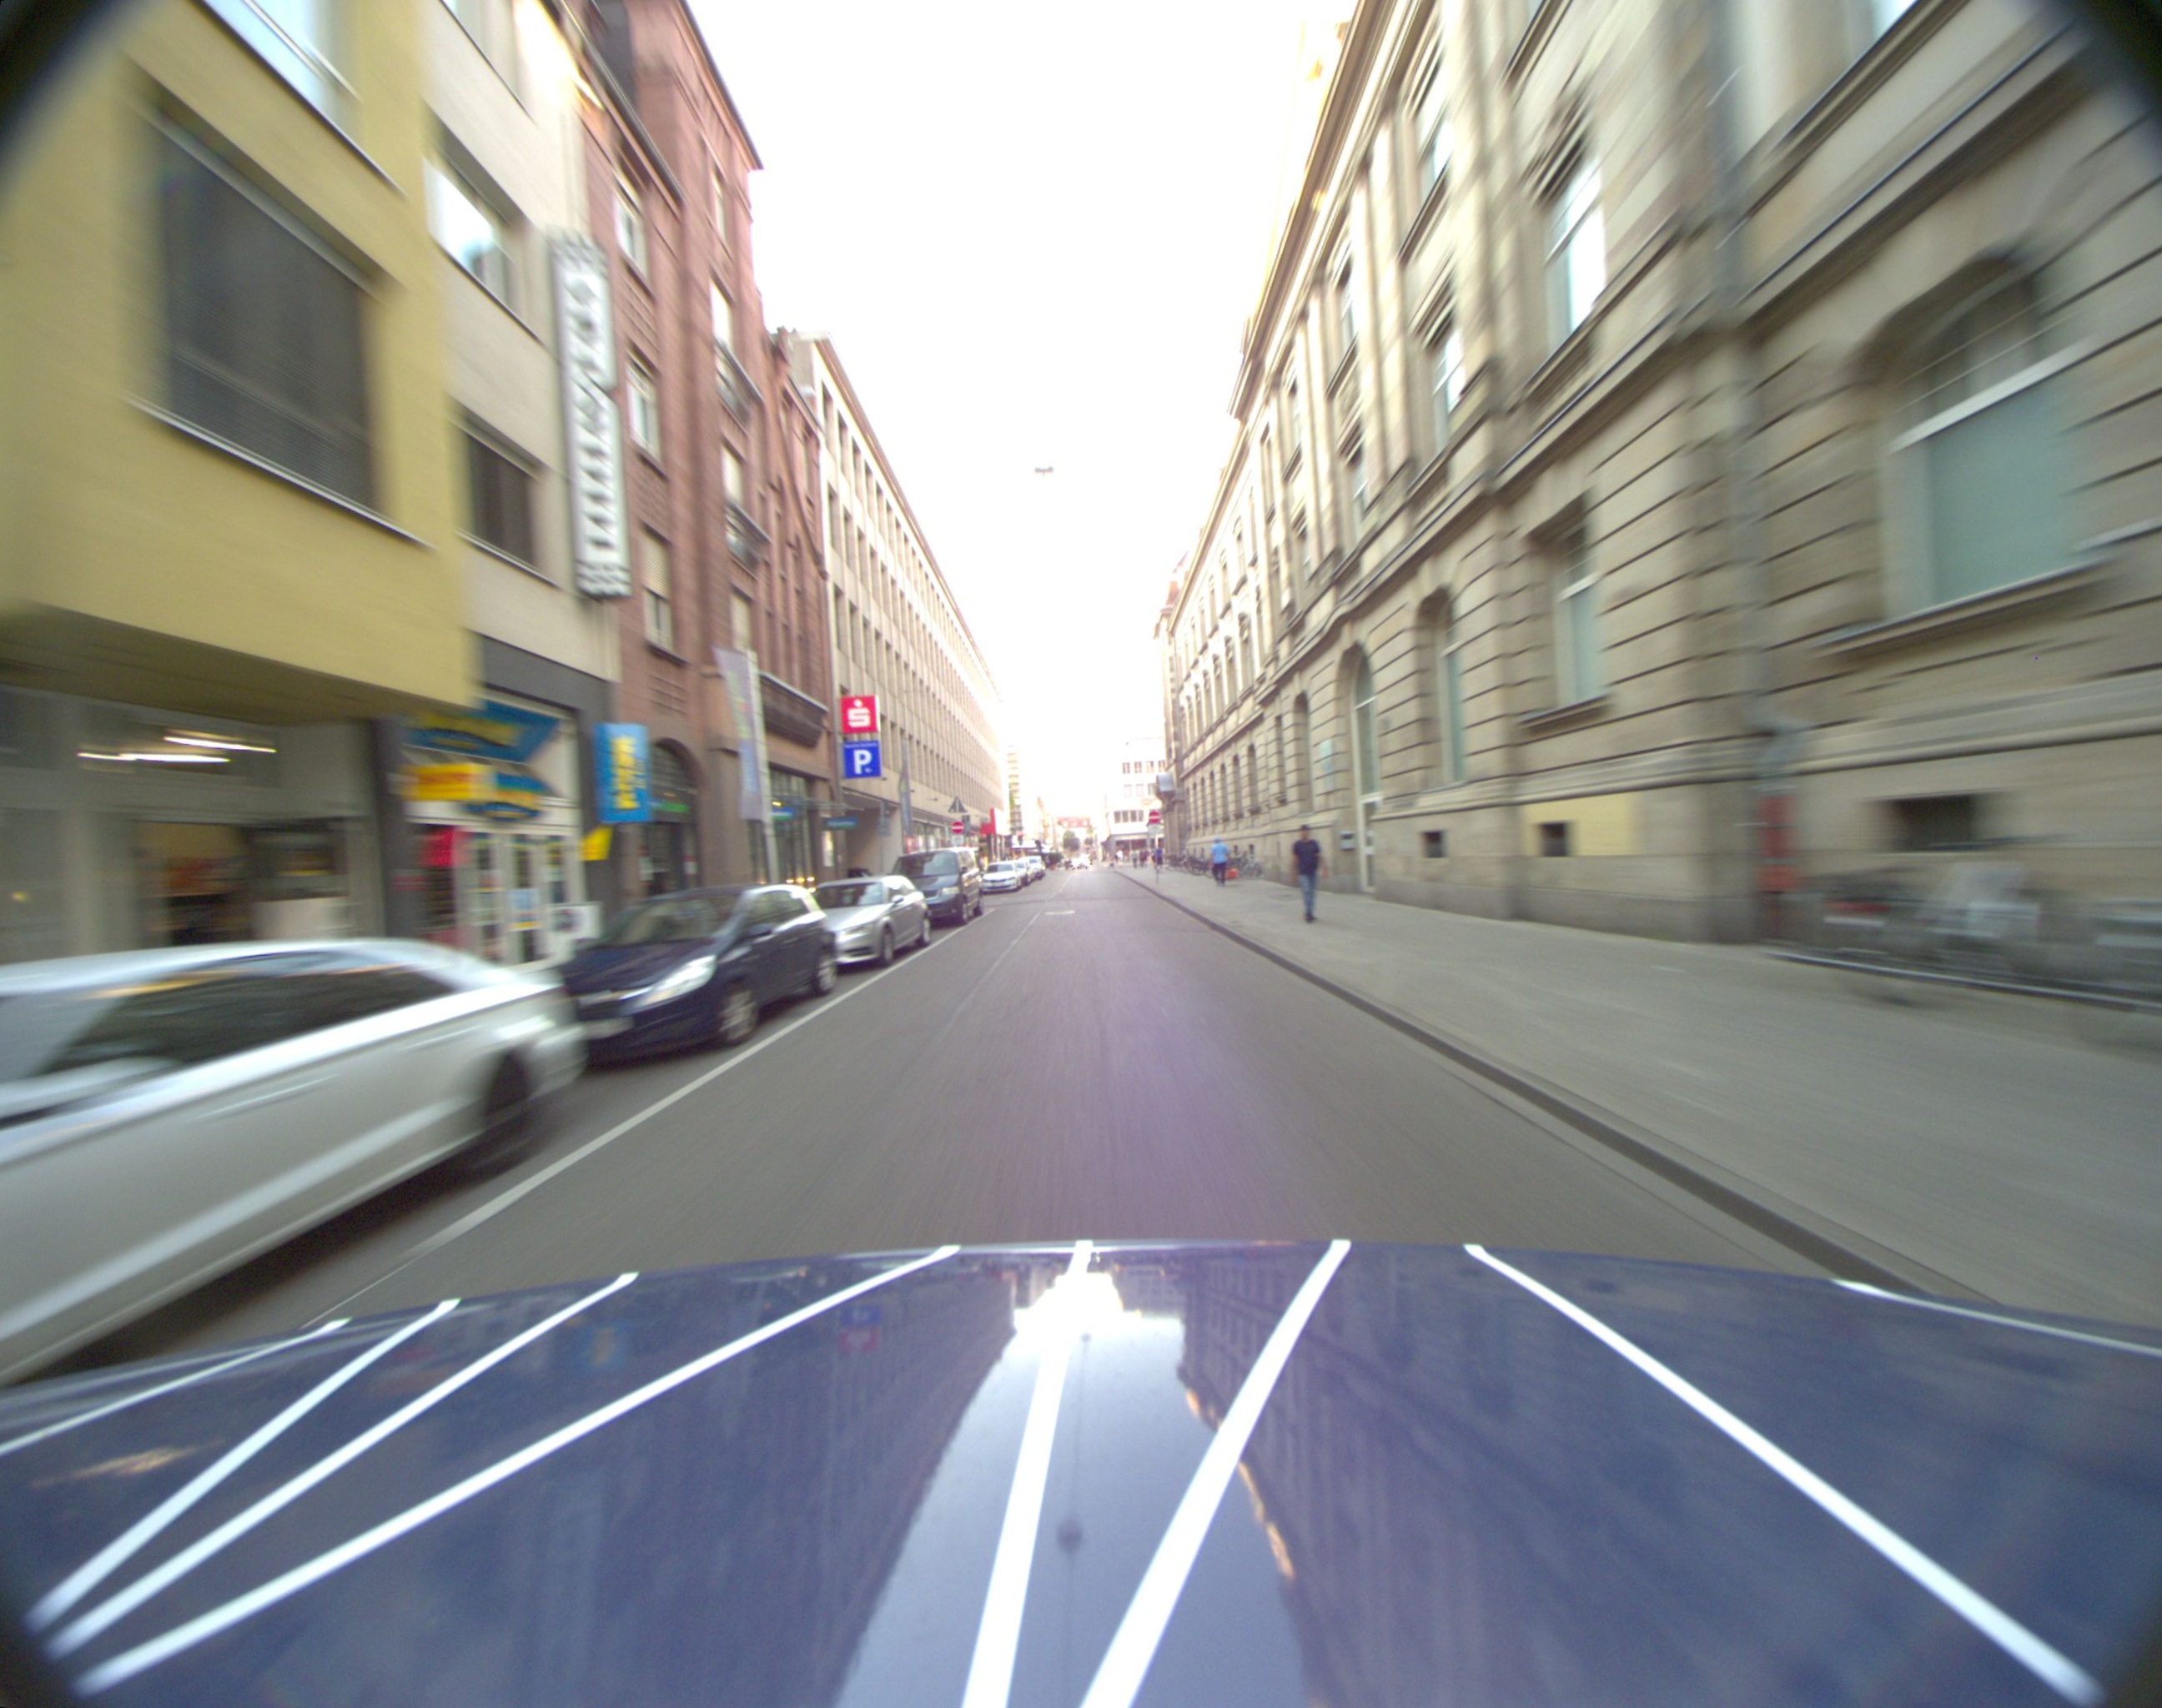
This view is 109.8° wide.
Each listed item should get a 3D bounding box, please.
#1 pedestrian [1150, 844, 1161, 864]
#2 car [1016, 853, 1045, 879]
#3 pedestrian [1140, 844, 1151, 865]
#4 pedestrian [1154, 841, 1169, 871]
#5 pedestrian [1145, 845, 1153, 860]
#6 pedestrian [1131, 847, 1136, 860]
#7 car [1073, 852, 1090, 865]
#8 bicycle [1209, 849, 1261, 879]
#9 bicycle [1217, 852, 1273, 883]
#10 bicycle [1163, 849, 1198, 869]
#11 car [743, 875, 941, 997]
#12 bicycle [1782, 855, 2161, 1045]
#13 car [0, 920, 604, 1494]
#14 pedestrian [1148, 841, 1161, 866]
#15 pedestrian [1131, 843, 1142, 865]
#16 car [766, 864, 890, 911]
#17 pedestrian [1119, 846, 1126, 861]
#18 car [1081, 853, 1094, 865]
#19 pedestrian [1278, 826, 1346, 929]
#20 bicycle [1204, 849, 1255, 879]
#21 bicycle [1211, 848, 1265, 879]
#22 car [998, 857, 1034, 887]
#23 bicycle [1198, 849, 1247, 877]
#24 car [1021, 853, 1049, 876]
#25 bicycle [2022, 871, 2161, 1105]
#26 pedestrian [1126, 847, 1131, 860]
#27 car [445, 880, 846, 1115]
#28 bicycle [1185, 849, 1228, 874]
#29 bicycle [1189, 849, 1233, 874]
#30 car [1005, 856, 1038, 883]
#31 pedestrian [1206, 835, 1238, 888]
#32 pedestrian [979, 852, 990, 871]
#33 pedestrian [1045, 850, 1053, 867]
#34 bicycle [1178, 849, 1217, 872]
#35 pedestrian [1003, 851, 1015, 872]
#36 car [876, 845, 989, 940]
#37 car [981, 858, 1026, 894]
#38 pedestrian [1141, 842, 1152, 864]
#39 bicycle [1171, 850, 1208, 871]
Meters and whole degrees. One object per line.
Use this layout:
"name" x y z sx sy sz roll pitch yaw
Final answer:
"pedestrian" 6.417 -0.001 65.467 0.757 1.632 0.749 -7 1 8
"car" -3.527 0.812 53.988 1.781 1.656 4.812 -5 1 -2
"pedestrian" 5.456 0.049 63.983 0.731 1.658 0.858 -7 1 3
"pedestrian" 4.910 0.122 46.531 0.777 1.778 0.821 -4 1 4
"pedestrian" 7.639 -0.149 84.887 0.795 1.679 0.769 -3 0 3
"pedestrian" 7.092 -0.106 103.127 0.545 1.698 0.558 -4 1 1
"car" 0.041 0.483 82.181 1.741 1.407 4.681 -1 0 -1
"bicycle" 6.419 0.410 31.727 1.943 1.072 0.730 -5 1 -6
"bicycle" 6.351 0.514 29.544 1.940 1.040 0.721 -4 1 -4
"bicycle" 6.341 0.322 48.445 2.024 1.102 0.730 -5 1 -6
"car" -3.782 1.228 12.966 1.691 1.444 4.498 -6 0 2
"bicycle" 6.065 0.620 5.189 1.942 1.055 0.619 -5 1 0
"car" -3.992 1.201 2.681 1.696 1.403 4.638 -6 0 -2
"pedestrian" 5.351 -0.031 55.425 0.719 1.770 0.800 -5 1 1
"pedestrian" 4.666 0.015 63.991 0.727 1.732 0.839 -7 1 3
"car" -10.372 1.359 31.412 4.413 1.493 1.916 -4 1 -1
"pedestrian" 5.291 -0.089 97.453 0.783 1.882 0.642 -3 1 0
"car" 1.014 0.759 113.154 1.824 1.728 4.000 -3 0 0
"pedestrian" 4.161 0.398 13.742 0.811 1.740 0.969 -5 1 1
"bicycle" 6.357 0.409 32.499 1.943 1.072 0.730 -5 1 -6
"bicycle" 6.272 0.370 30.462 1.942 1.072 0.748 -5 1 0
"car" -3.618 0.972 42.959 1.661 1.439 4.444 -5 1 -1
"bicycle" 6.284 0.403 33.816 1.943 1.072 0.730 -5 1 -6
"car" -3.555 0.781 59.813 1.744 1.589 4.714 -5 0 1
"bicycle" 6.171 0.616 3.939 1.943 1.055 0.619 -5 1 -5
"pedestrian" 6.408 -0.072 102.823 0.545 1.698 0.558 -4 1 1
"car" -3.947 1.155 7.852 1.622 1.507 4.173 -6 0 0
"bicycle" 6.388 0.356 38.628 1.943 1.072 0.730 -5 1 -6
"bicycle" 6.392 0.355 37.438 1.943 1.072 0.730 -5 1 -6
"car" -3.757 0.972 48.507 1.661 1.439 3.869 -5 1 1
"pedestrian" 4.918 0.257 26.609 0.831 1.736 0.769 -6 1 1
"pedestrian" -9.059 0.736 71.240 0.799 1.751 0.687 -3 0 1
"pedestrian" -3.249 0.464 76.638 0.687 1.751 0.799 -3 0 -7
"bicycle" 6.437 0.357 42.135 1.943 1.072 0.730 -5 1 -5
"pedestrian" -6.706 0.698 70.938 0.685 1.907 0.801 -3 1 36
"car" -3.729 0.868 20.051 1.851 2.046 5.053 -5 1 0
"car" -3.720 1.018 36.986 1.661 1.439 4.307 -5 1 0
"pedestrian" 5.640 -0.052 65.615 0.718 1.819 0.870 -7 1 8
"bicycle" 6.508 0.363 45.570 2.026 1.072 0.729 -6 1 -19
